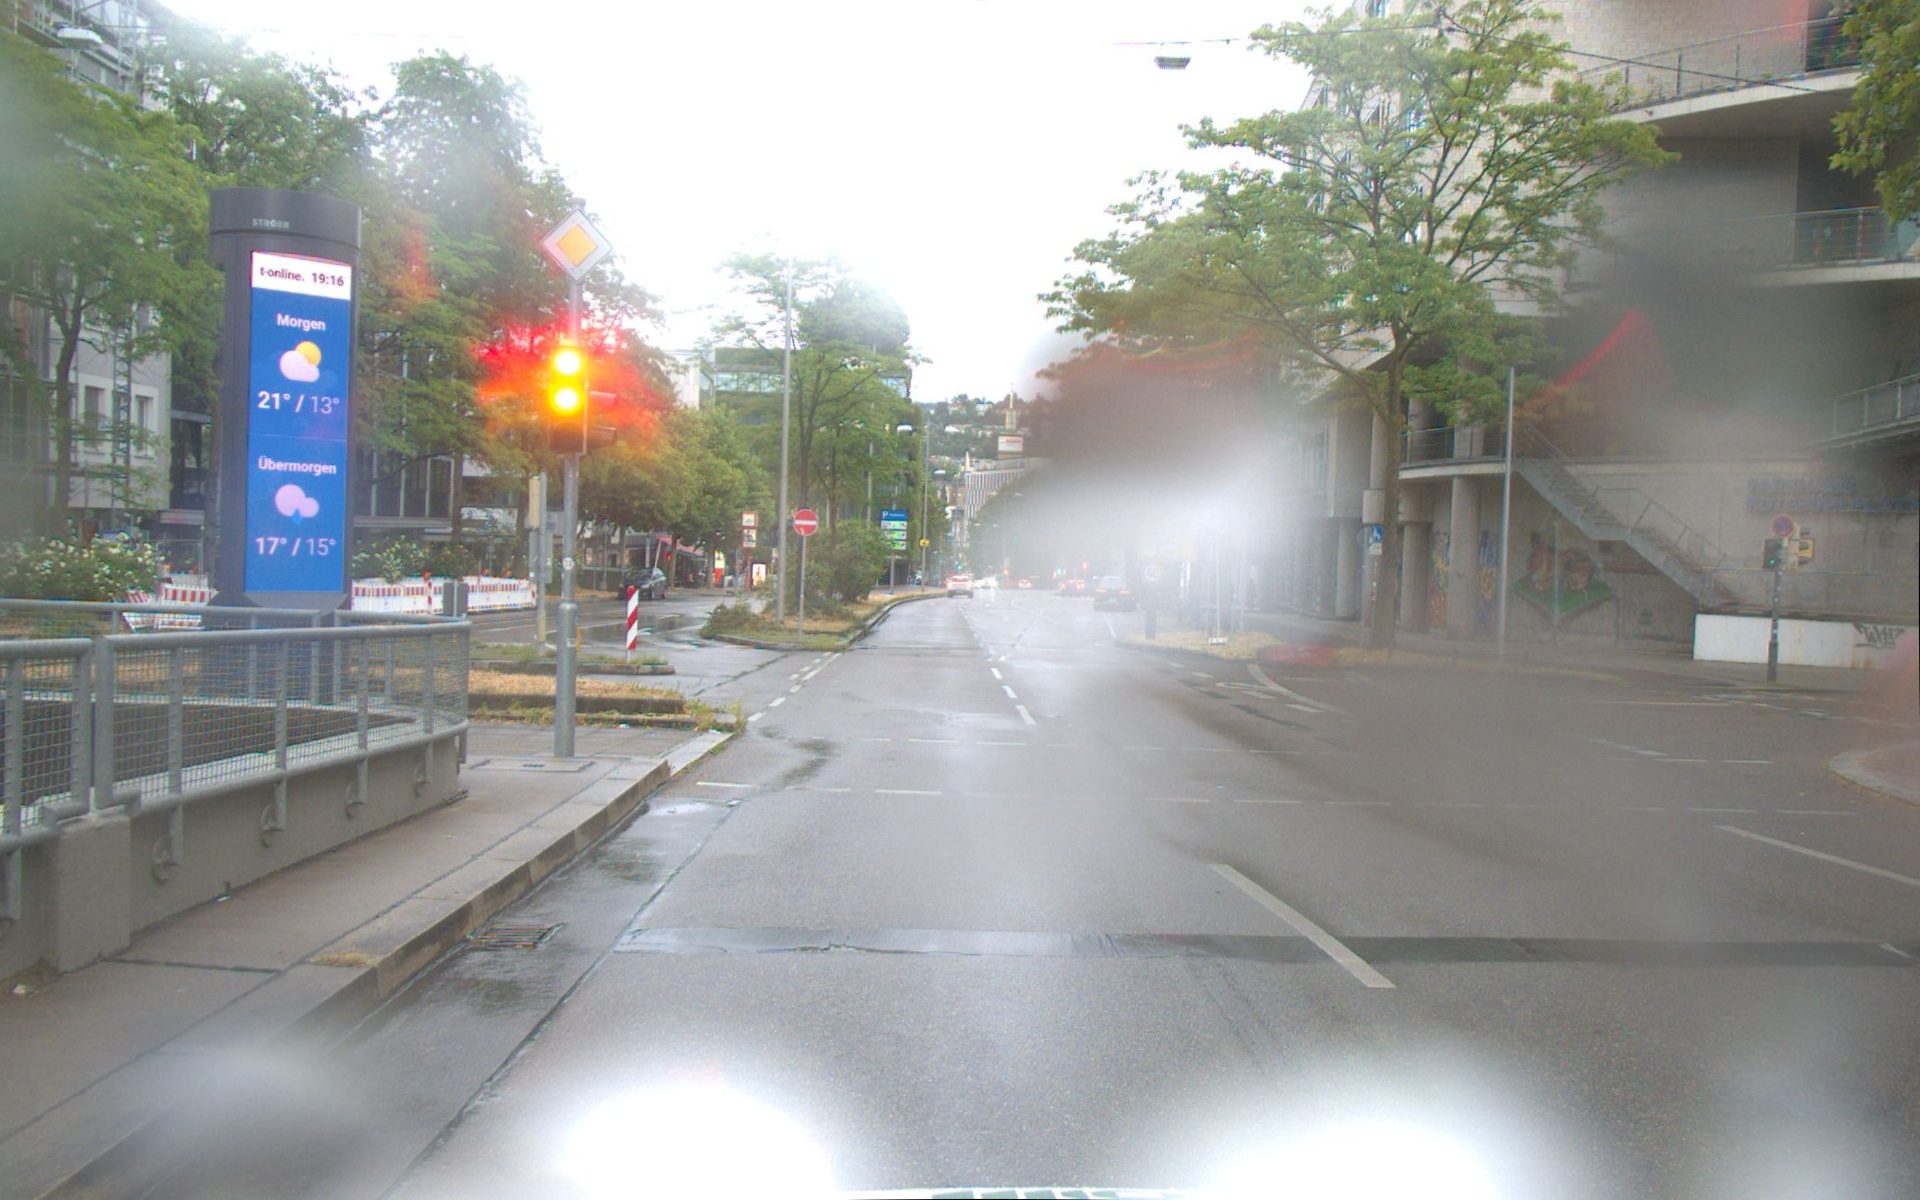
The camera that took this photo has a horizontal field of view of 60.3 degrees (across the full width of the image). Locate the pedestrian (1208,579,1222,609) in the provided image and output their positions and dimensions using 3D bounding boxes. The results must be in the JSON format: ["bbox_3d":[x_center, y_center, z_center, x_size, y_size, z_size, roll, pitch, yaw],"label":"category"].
[{"bbox_3d":[16.745,-0.380,108.645,0.759,1.954,0.702,1,-1,-2],"label":"pedestrian"}]

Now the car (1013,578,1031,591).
[{"bbox_3d":[8.801,-2.238,235.952,1.955,1.789,3.995,2,0,-6],"label":"car"}]

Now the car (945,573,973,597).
[{"bbox_3d":[-0.031,-1.120,124.608,1.790,1.668,4.302,2,0,3],"label":"car"}]

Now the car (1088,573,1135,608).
[{"bbox_3d":[7.664,-0.496,83.556,2.288,1.720,4.003,1,1,6],"label":"car"}]

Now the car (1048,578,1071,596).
[{"bbox_3d":[10.024,-1.285,166.981,1.953,1.766,3.999,1,0,-1],"label":"car"}]

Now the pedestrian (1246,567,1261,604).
[{"bbox_3d":[15.746,-0.753,88.751,0.759,1.954,0.703,1,-1,9],"label":"pedestrian"}]

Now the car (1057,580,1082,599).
[{"bbox_3d":[10.313,-0.991,155.767,1.953,1.754,3.999,1,0,-2],"label":"car"}]
